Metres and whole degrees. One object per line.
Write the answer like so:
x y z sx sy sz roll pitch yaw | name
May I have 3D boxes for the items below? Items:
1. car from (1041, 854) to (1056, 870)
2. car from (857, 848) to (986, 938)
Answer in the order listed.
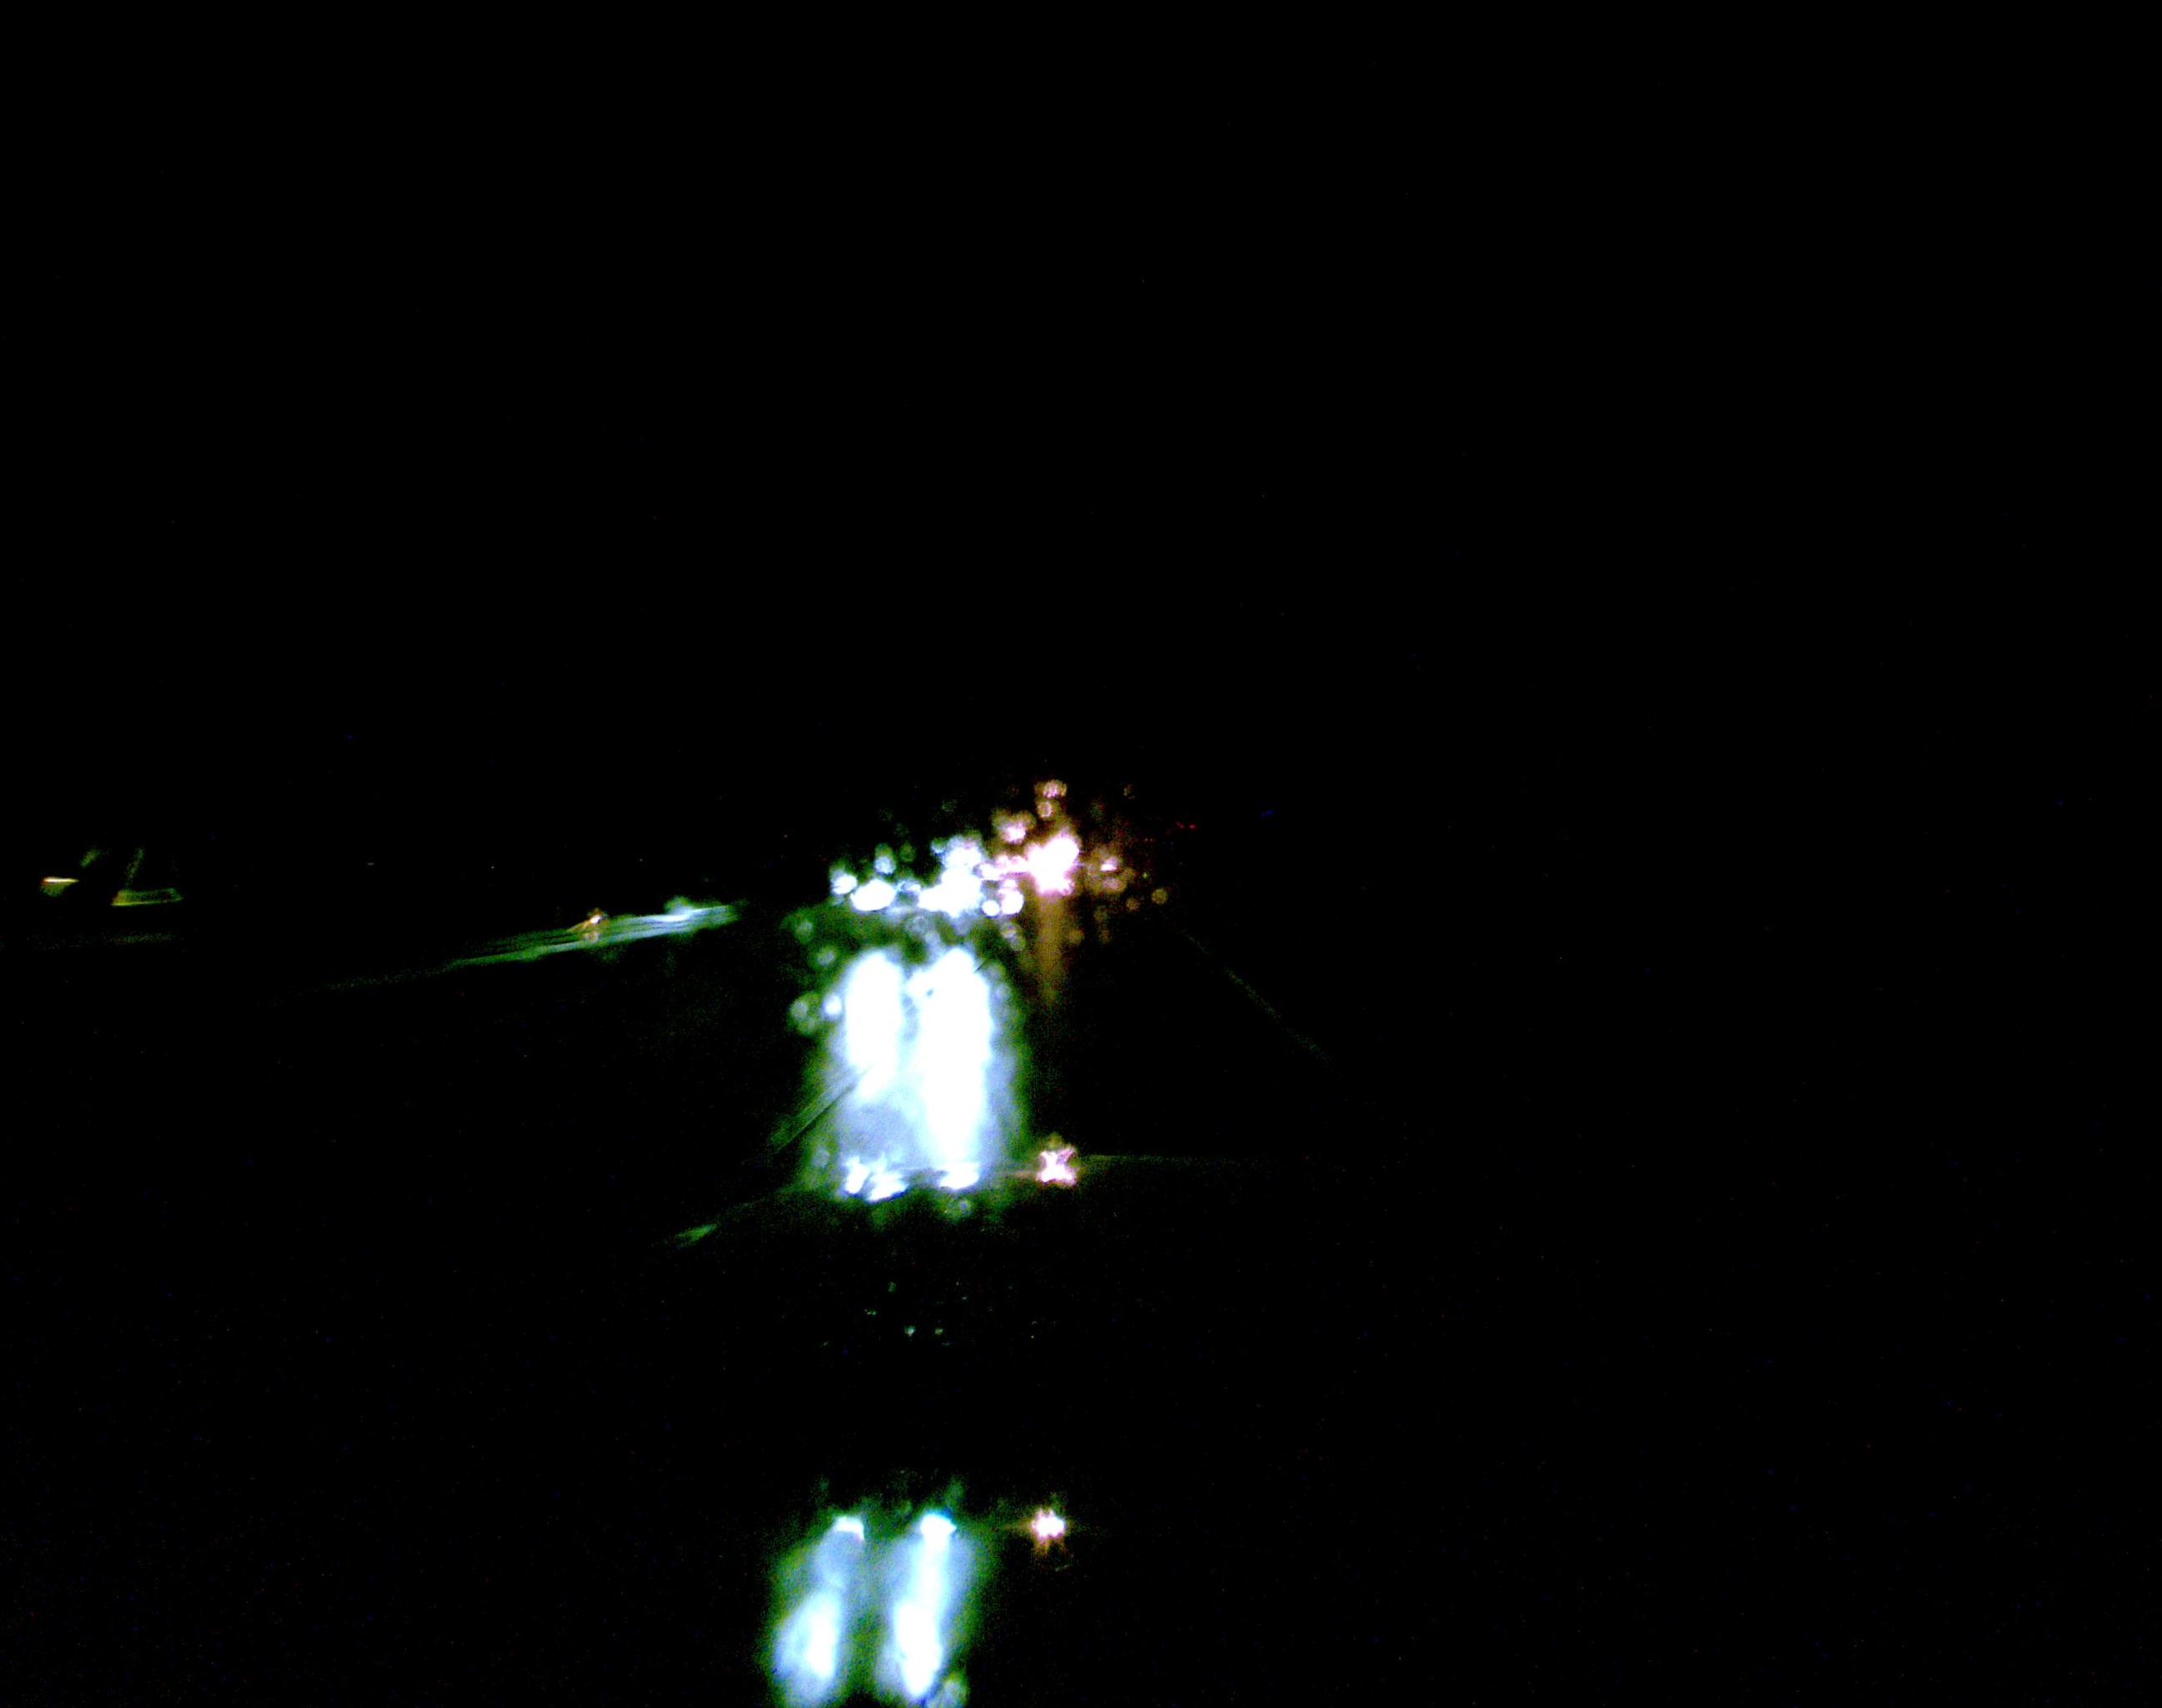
-4.769 1.104 120.673 1.988 2.272 5.465 -1 0 -1 | car
-3.282 0.740 17.600 1.919 1.703 4.001 0 0 1 | car
